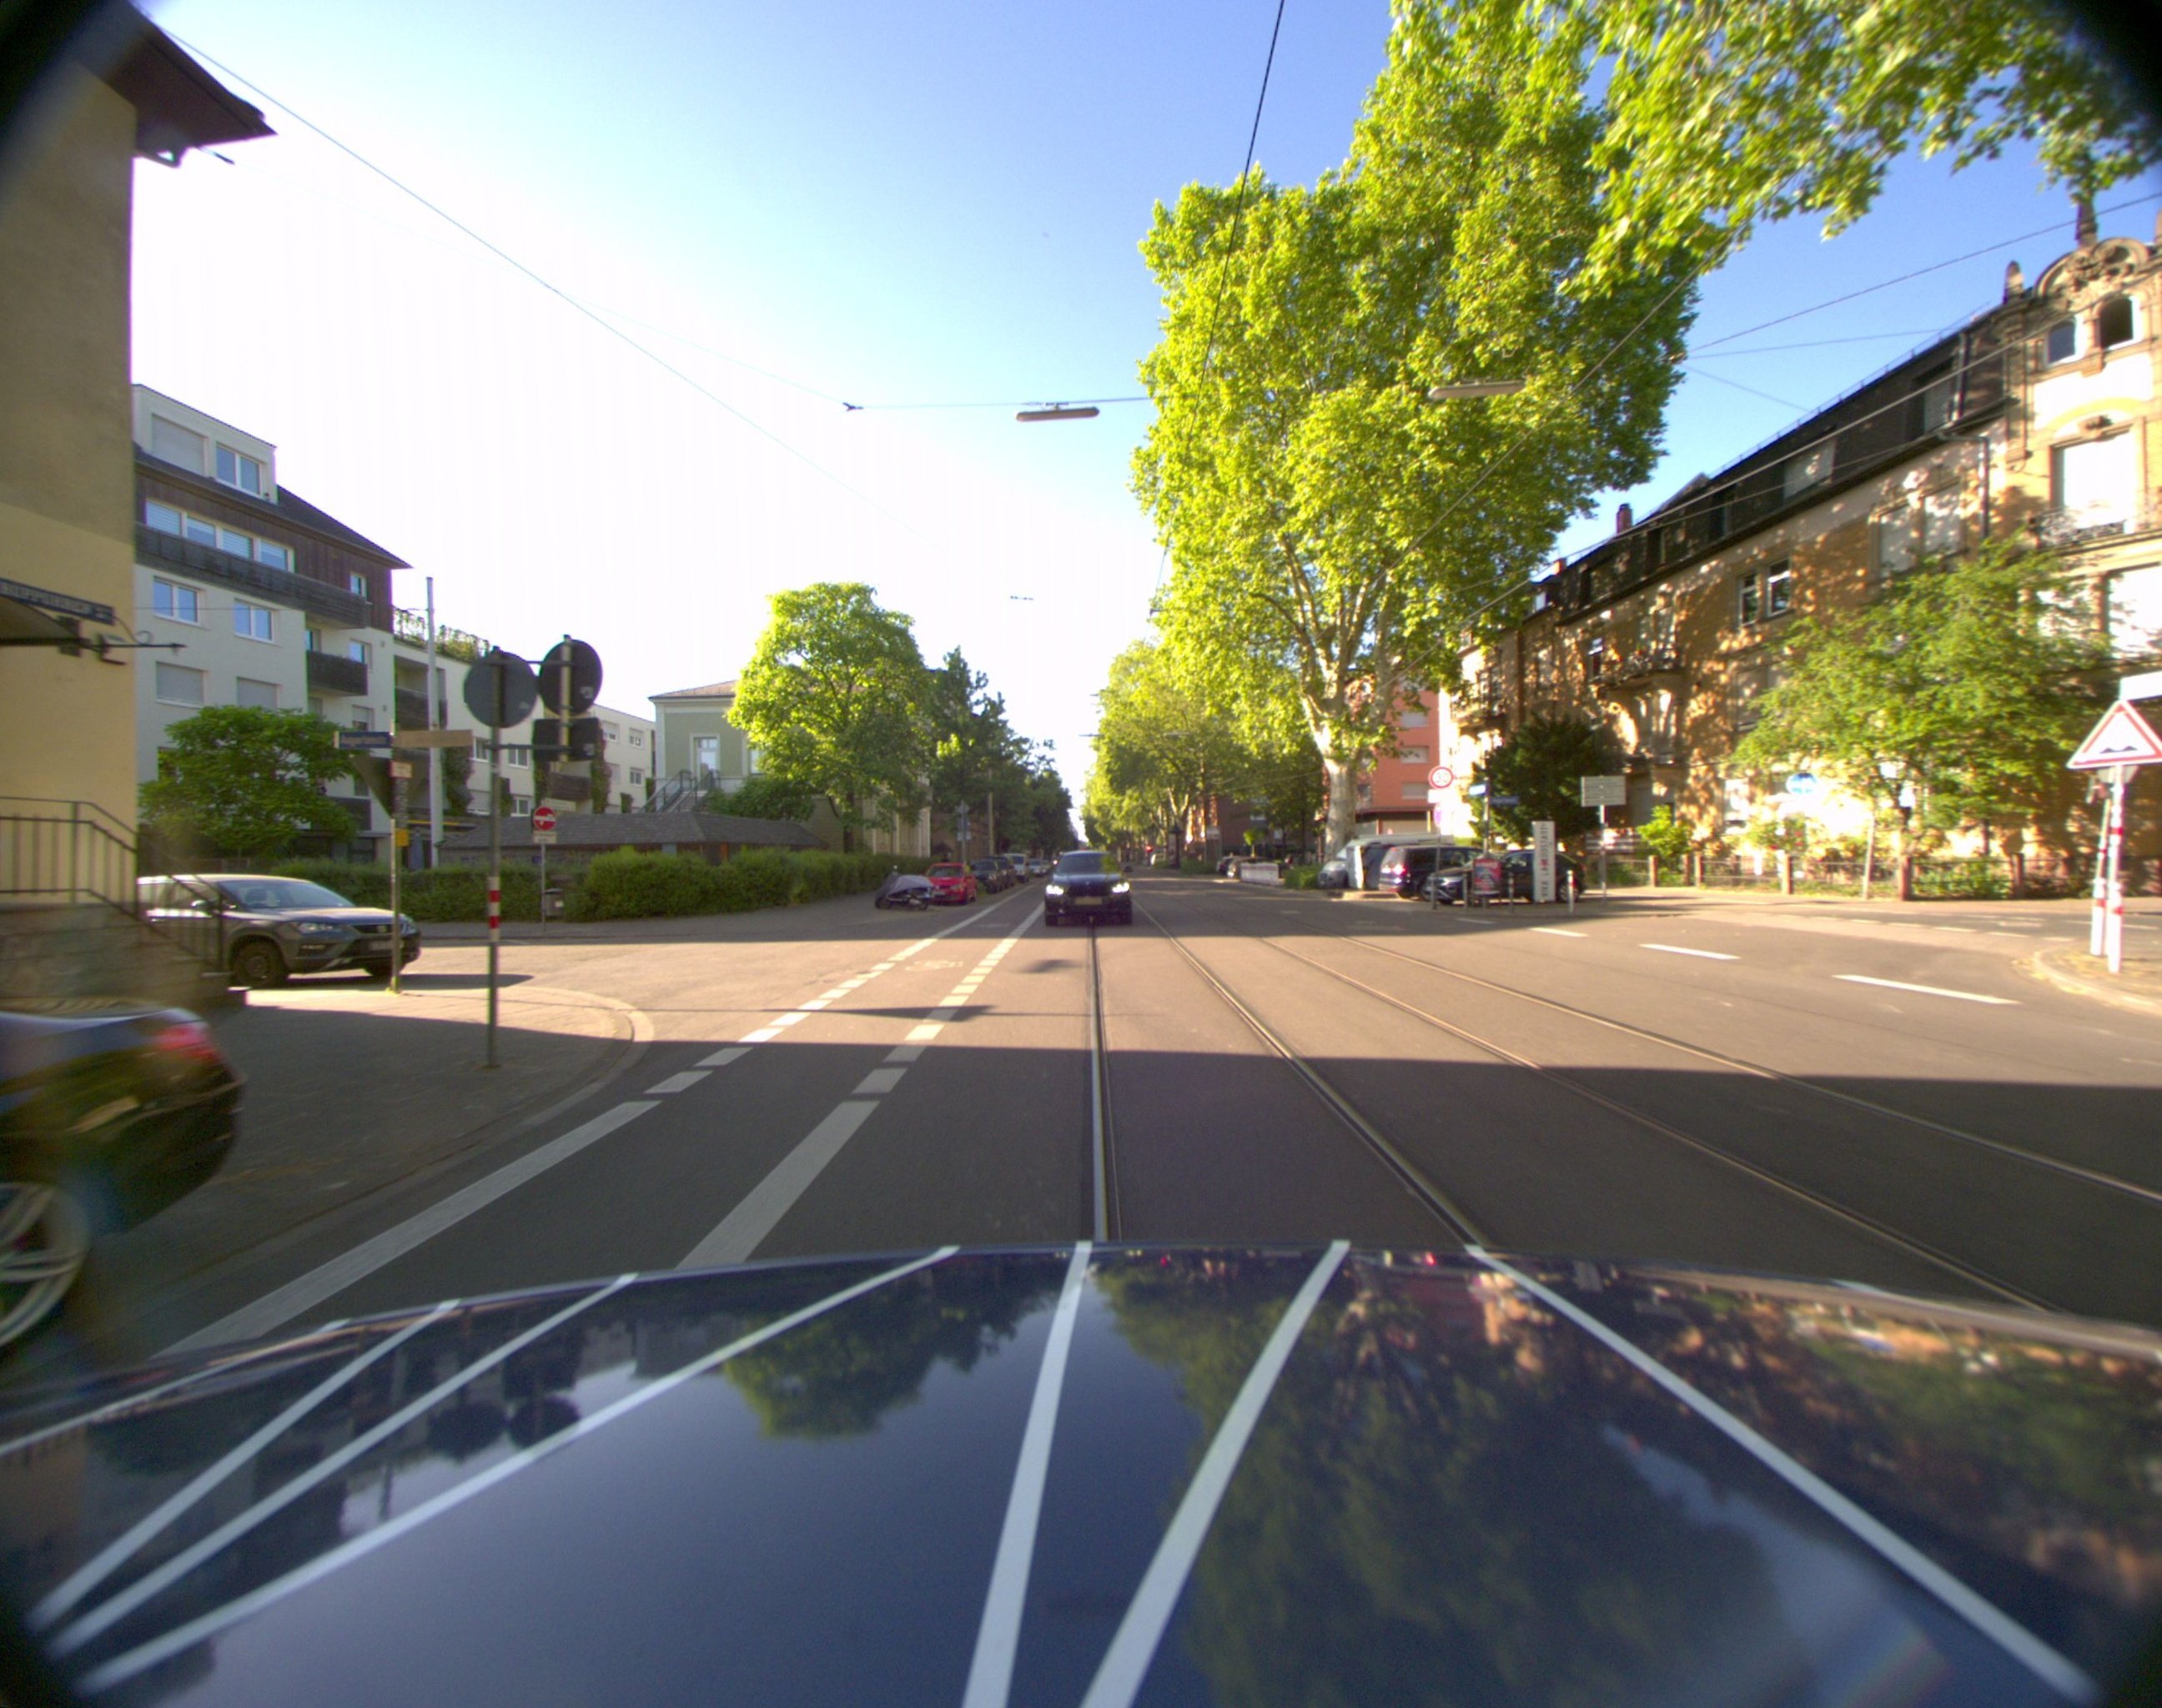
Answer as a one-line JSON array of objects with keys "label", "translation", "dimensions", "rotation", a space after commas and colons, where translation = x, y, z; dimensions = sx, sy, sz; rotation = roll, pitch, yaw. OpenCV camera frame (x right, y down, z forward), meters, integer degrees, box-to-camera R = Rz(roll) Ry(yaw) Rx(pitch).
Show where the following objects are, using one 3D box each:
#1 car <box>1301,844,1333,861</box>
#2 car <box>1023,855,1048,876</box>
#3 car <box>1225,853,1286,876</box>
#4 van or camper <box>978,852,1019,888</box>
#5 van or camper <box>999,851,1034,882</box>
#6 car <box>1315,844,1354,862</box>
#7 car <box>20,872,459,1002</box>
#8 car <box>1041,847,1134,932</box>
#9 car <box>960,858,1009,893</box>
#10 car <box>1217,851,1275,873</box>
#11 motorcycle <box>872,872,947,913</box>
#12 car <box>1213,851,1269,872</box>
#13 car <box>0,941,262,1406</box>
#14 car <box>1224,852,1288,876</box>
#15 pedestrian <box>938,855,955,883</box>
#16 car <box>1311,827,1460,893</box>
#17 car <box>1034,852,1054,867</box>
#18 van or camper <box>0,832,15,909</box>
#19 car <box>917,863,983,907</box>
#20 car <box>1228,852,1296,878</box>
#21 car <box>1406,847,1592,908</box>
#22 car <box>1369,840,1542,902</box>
[{"label": "car", "translation": [21.439, -0.148, 69.139], "dimensions": [1.671, 1.438, 3.651], "rotation": [1, 0, -1]}, {"label": "car", "translation": [-3.940, 0.984, 66.379], "dimensions": [1.815, 1.702, 4.372], "rotation": [1, 0, 0]}, {"label": "car", "translation": [12.500, 0.735, 54.647], "dimensions": [3.966, 1.506, 1.810], "rotation": [-2, 0, -1]}, {"label": "van or camper", "translation": [-4.441, 0.815, 41.314], "dimensions": [1.694, 1.772, 4.443], "rotation": [1, 0, 0]}, {"label": "van or camper", "translation": [-4.237, 0.788, 50.650], "dimensions": [1.882, 1.873, 4.922], "rotation": [1, 0, 0]}, {"label": "car", "translation": [21.513, -0.075, 64.566], "dimensions": [1.671, 1.438, 4.609], "rotation": [1, 0, -1]}, {"label": "car", "translation": [-11.857, 1.137, 10.911], "dimensions": [4.458, 1.629, 1.904], "rotation": [-2, -2, 5]}, {"label": "car", "translation": [0.166, 0.739, 18.512], "dimensions": [1.924, 1.741, 4.806], "rotation": [-2, 0, 1]}, {"label": "car", "translation": [-4.459, 0.981, 35.691], "dimensions": [1.694, 1.478, 4.142], "rotation": [1, 0, 0]}, {"label": "car", "translation": [12.439, 0.585, 57.326], "dimensions": [3.966, 1.506, 1.810], "rotation": [-2, 0, -1]}, {"label": "motorcycle", "translation": [-5.253, 1.164, 23.386], "dimensions": [2.071, 1.152, 0.828], "rotation": [2, 1, 4]}, {"label": "car", "translation": [12.625, 0.607, 60.160], "dimensions": [3.966, 1.506, 1.810], "rotation": [-2, 0, -1]}, {"label": "car", "translation": [-4.446, 1.066, 0.809], "dimensions": [1.998, 1.372, 4.739], "rotation": [1, 0, 0]}, {"label": "car", "translation": [12.058, 0.703, 52.552], "dimensions": [3.966, 1.506, 1.810], "rotation": [-2, 0, -1]}, {"label": "pedestrian", "translation": [-8.000, 0.882, 45.276], "dimensions": [0.813, 1.669, 0.885], "rotation": [-2, 1, 0]}, {"label": "car", "translation": [11.894, 0.228, 29.947], "dimensions": [5.019, 2.383, 2.028], "rotation": [-2, 0, -1]}, {"label": "car", "translation": [-3.904, 0.542, 80.754], "dimensions": [1.781, 1.490, 4.372], "rotation": [1, 0, 0]}, {"label": "van or camper", "translation": [-30.077, 0.475, 18.958], "dimensions": [4.592, 1.971, 1.931], "rotation": [-2, 0, 5]}, {"label": "car", "translation": [-4.577, 1.042, 27.045], "dimensions": [1.607, 1.372, 3.864], "rotation": [1, 0, 0]}, {"label": "car", "translation": [11.719, 0.713, 49.450], "dimensions": [3.966, 1.506, 1.810], "rotation": [-2, 0, -1]}, {"label": "car", "translation": [11.685, 0.635, 21.435], "dimensions": [4.170, 1.506, 1.925], "rotation": [-2, 0, -1]}, {"label": "car", "translation": [11.751, 0.520, 24.087], "dimensions": [4.464, 1.755, 2.028], "rotation": [-2, 0, -1]}]
